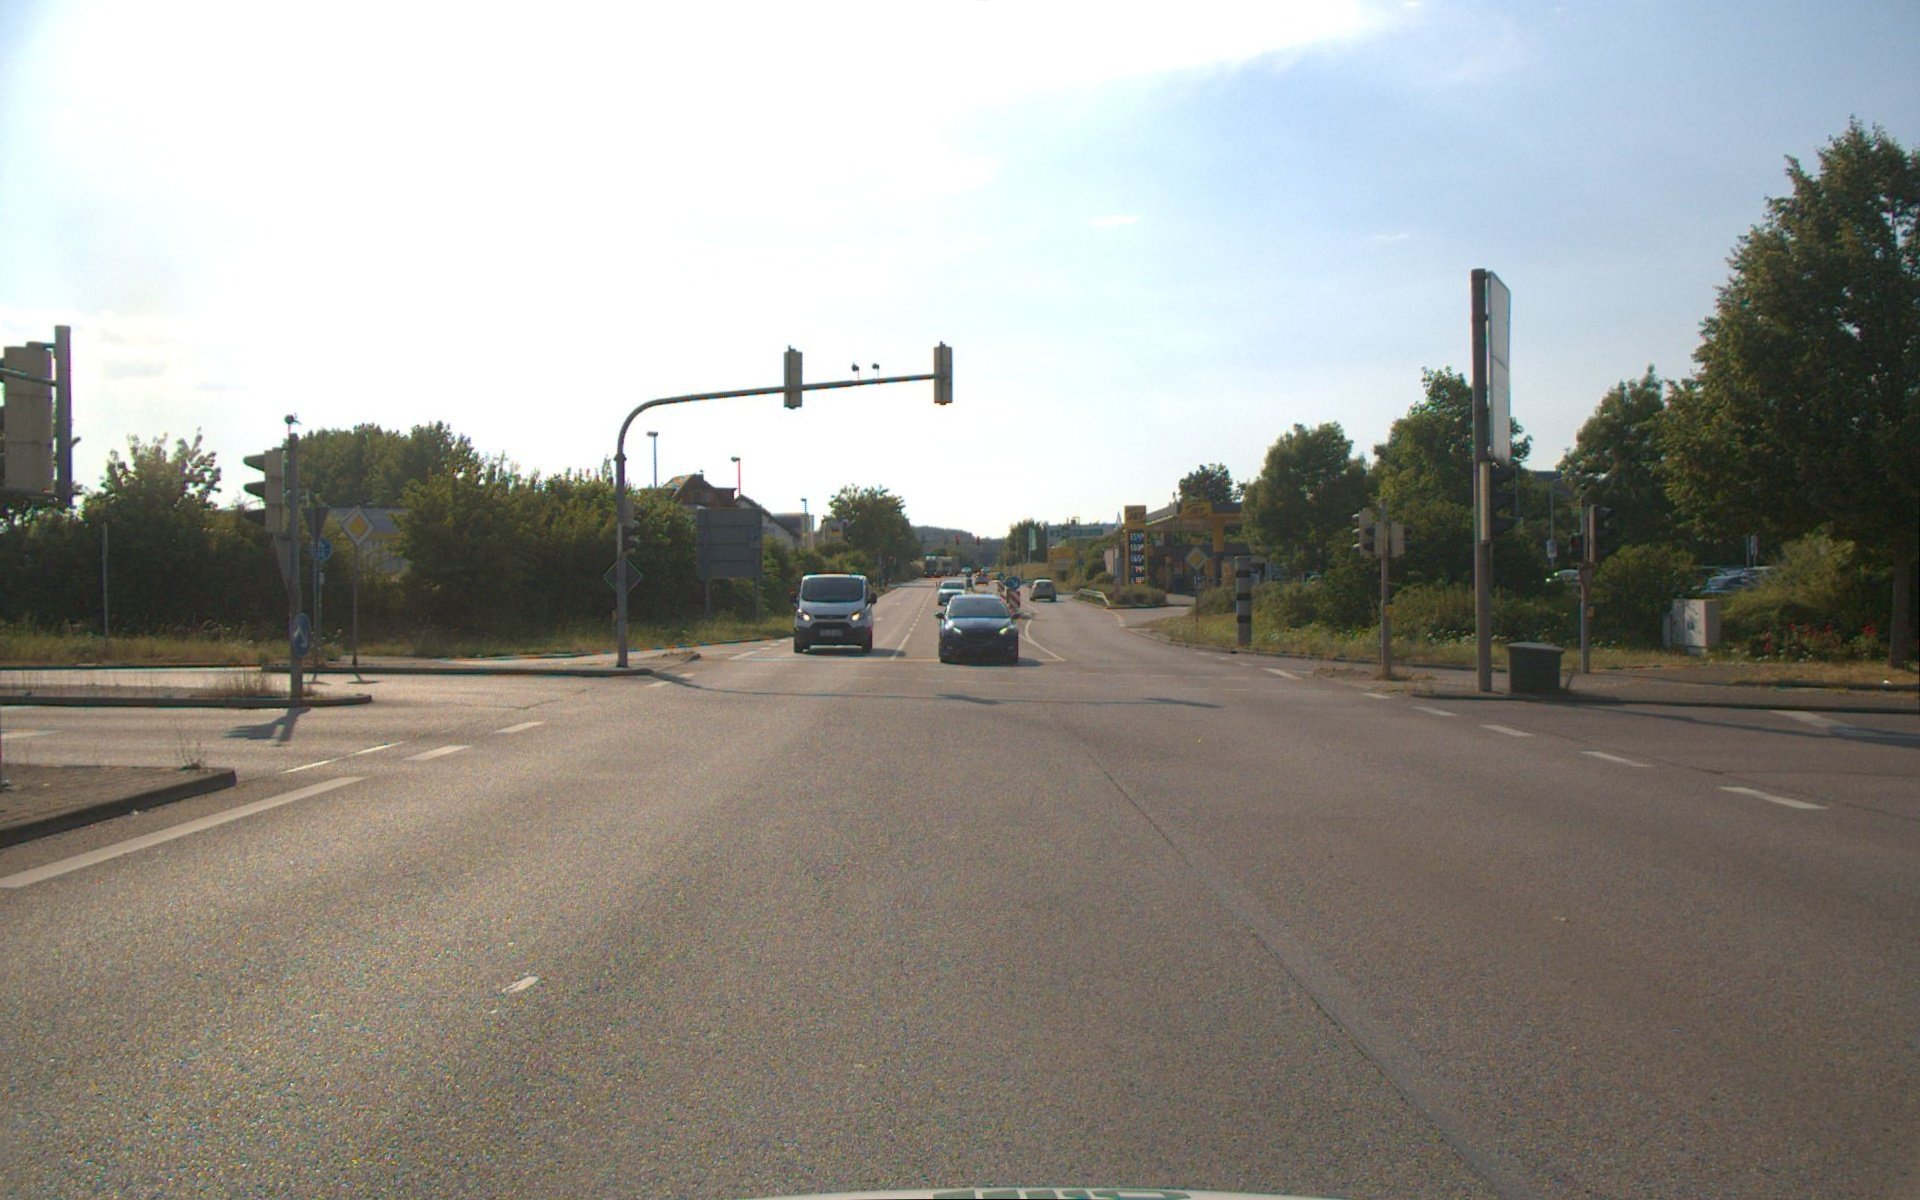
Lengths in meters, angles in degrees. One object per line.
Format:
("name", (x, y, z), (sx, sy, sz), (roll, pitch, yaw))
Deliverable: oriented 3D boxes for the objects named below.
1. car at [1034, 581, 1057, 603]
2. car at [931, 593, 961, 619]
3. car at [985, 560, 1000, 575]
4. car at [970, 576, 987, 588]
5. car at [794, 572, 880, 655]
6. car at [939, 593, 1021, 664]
("car", (5.942, -0.546, 115.086), (1.518, 1.474, 3.050), (1, 0, 2))
("car", (-0.903, 0.371, 102.624), (1.819, 1.540, 4.952), (1, 0, -1))
("car", (4.950, -4.978, 252.642), (1.954, 2.049, 3.996), (1, -1, -5))
("car", (2.259, -2.254, 203.719), (1.706, 1.376, 3.200), (1, 0, -5))
("car", (-3.148, 0.291, 43.231), (1.861, 1.981, 4.819), (1, 1, 0))
("car", (0.510, 0.634, 38.114), (1.751, 1.524, 4.303), (1, 0, 2))
